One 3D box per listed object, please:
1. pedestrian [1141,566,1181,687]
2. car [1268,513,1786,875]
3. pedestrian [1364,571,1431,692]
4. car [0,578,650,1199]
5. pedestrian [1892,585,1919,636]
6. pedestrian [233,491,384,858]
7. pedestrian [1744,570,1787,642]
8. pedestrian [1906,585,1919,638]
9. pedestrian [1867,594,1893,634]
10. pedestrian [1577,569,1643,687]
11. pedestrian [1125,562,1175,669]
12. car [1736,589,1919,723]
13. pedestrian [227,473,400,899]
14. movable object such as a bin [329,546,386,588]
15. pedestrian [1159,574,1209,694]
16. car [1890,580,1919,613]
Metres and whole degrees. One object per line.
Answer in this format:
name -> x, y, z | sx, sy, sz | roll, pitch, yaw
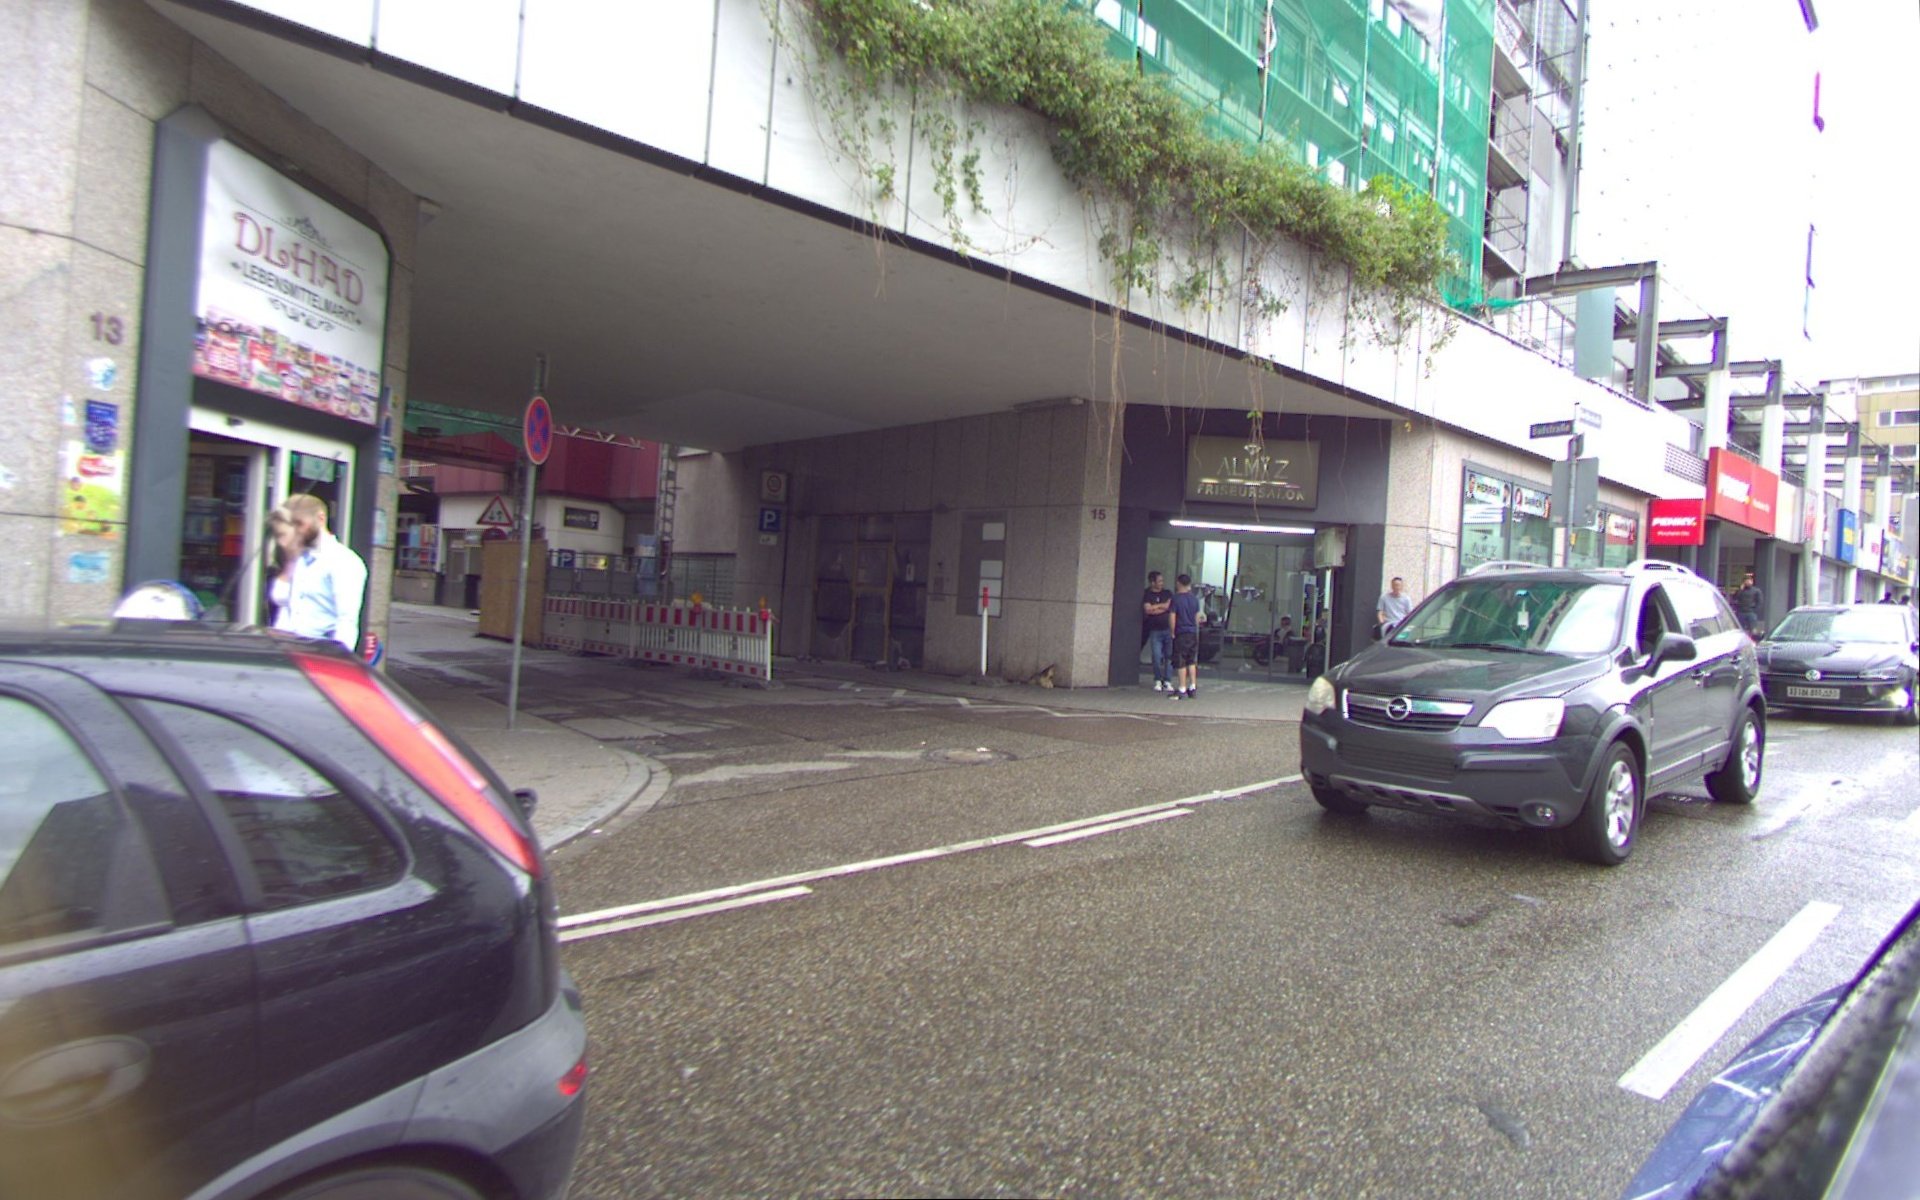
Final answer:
pedestrian -> 2.926, 0.382, 14.726 | 0.474, 1.729, 0.467 | 0, 0, 0
car -> 4.078, 0.488, 6.994 | 4.088, 1.788, 1.764 | 1, -1, -39
pedestrian -> 6.206, 0.420, 14.351 | 0.722, 1.663, 0.637 | -1, 0, -44
car -> -2.441, 0.677, 1.298 | 3.558, 1.447, 1.610 | 1, -1, -40
pedestrian -> 28.442, 0.308, 30.440 | 0.570, 1.519, 0.509 | -1, 3, -42
pedestrian -> -3.797, 0.389, 5.889 | 0.629, 1.959, 0.737 | -1, 0, -41
pedestrian -> 19.331, 0.132, 24.287 | 0.499, 1.699, 0.581 | 0, 2, -20
pedestrian -> 28.098, 0.341, 29.622 | 0.570, 1.519, 0.509 | -1, 3, -42
pedestrian -> 28.204, 0.428, 31.018 | 0.570, 1.181, 0.509 | -1, 3, -42
pedestrian -> 9.431, 0.384, 14.687 | 0.674, 1.647, 0.571 | 3, 3, 43
pedestrian -> 3.370, 0.254, 18.005 | 0.730, 1.838, 0.773 | 2, 2, 3
car -> 11.943, 0.660, 13.403 | 4.088, 1.523, 1.759 | 1, -1, -39
pedestrian -> -3.292, 0.389, 5.145 | 0.629, 1.959, 0.737 | -1, 0, -41
movable object such as a bin -> -32.047, -1.736, 53.829 | 3.822, 2.117, 1.462 | 0, 1, 41
pedestrian -> 3.107, 0.451, 13.994 | 0.630, 1.615, 0.574 | 0, 0, 17
car -> 63.431, -0.163, 65.454 | 4.559, 2.038, 1.975 | 3, 3, 35
